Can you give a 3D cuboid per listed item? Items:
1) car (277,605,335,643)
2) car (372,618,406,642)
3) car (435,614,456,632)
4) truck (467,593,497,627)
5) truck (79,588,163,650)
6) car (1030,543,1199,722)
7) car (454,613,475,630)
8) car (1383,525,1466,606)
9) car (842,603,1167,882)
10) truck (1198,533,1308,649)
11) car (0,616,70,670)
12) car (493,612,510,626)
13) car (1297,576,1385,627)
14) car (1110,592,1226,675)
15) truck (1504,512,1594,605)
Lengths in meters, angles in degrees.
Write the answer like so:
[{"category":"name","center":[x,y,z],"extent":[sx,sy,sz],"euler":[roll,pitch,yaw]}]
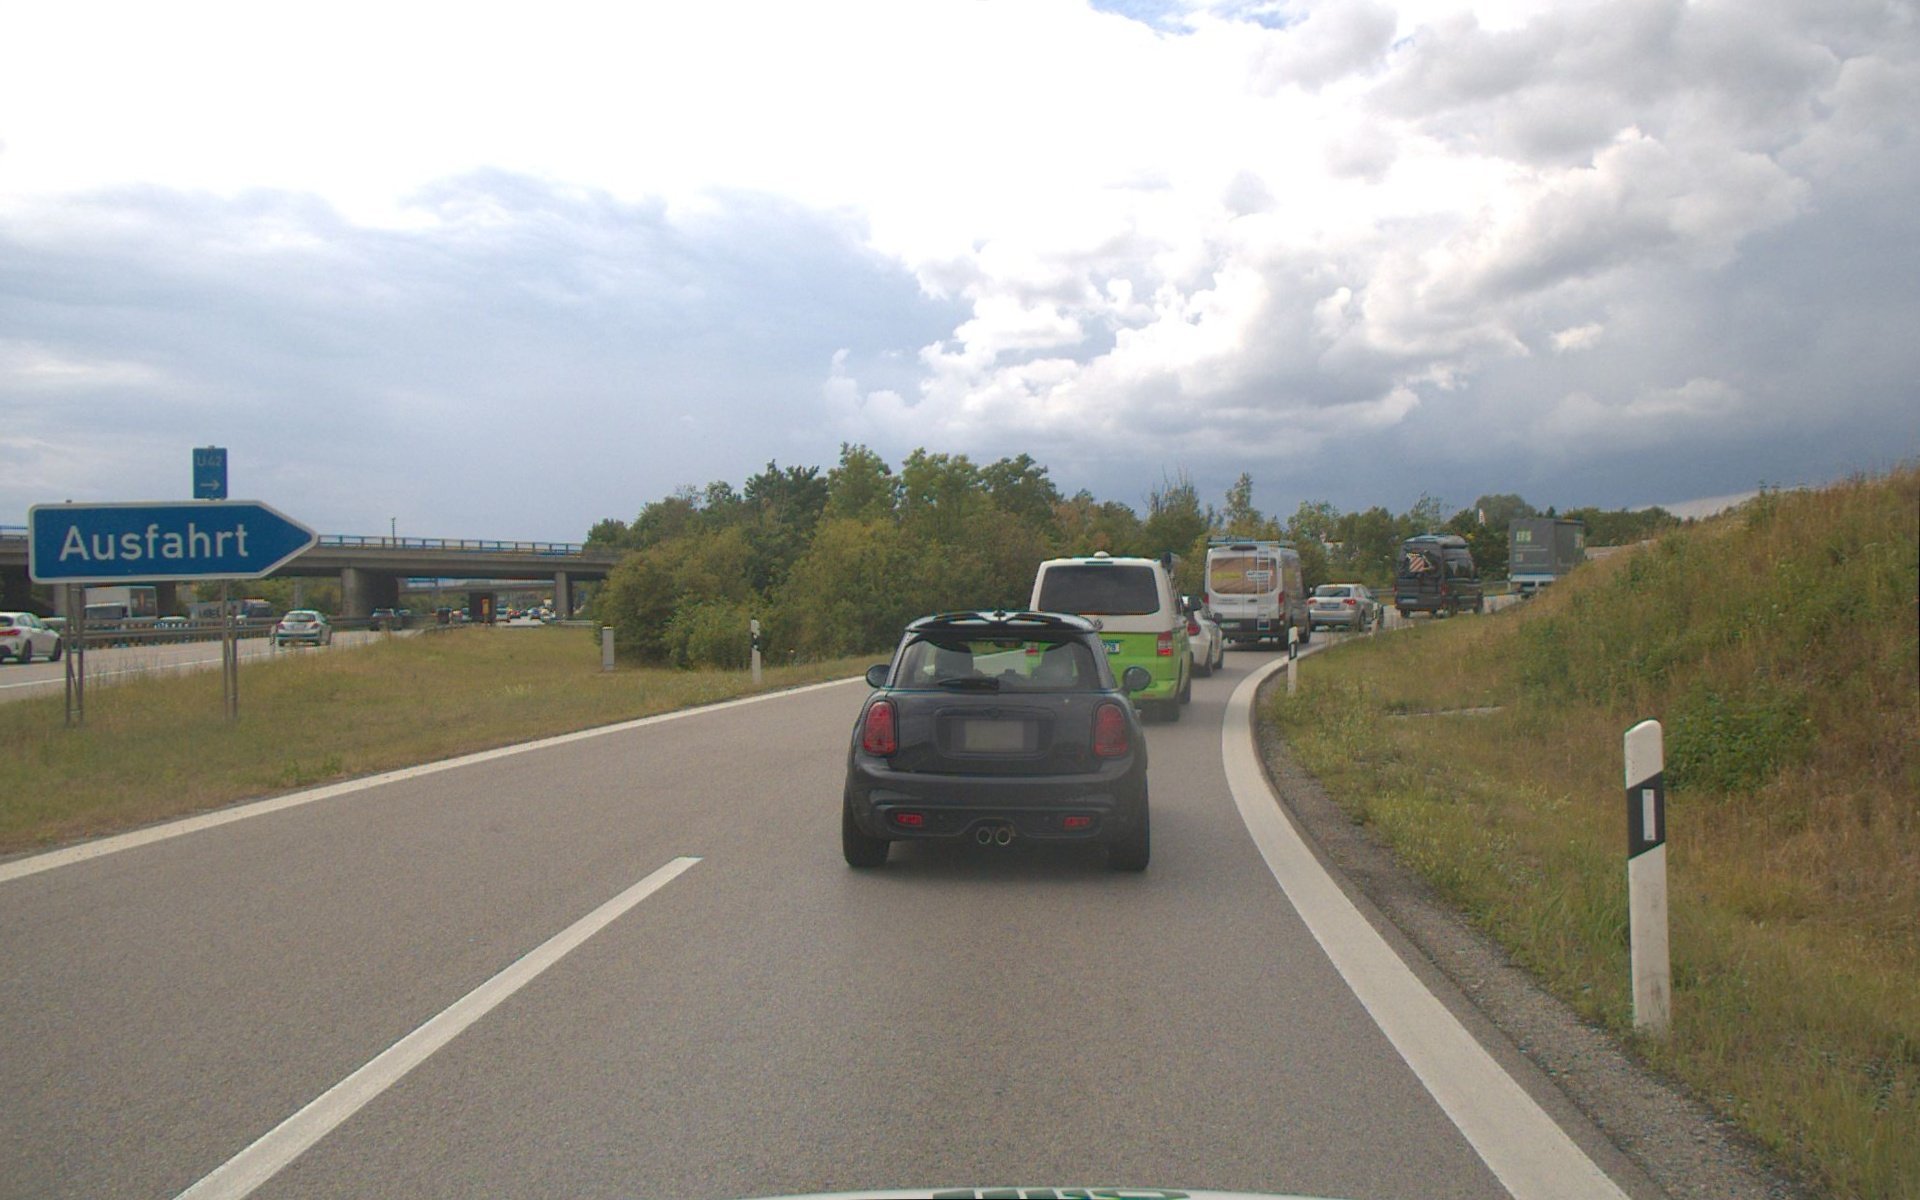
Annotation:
[{"category":"car","center":[-28.009,1.011,70.894],"extent":[1.687,1.545,3.987],"euler":[-1,0,-13]},{"category":"car","center":[-44.195,2.273,128.084],"extent":[1.959,1.774,4.813],"euler":[-1,0,-13]},{"category":"car","center":[-54.483,2.433,175.162],"extent":[1.813,1.789,4.321],"euler":[-1,0,-13]},{"category":"truck","center":[-49.744,1.050,172.291],"extent":[2.425,3.430,7.897],"euler":[-1,-1,-13]},{"category":"truck","center":[-52.780,1.185,104.283],"extent":[2.711,3.710,8.170],"euler":[-1,0,-13]},{"category":"car","center":[2.057,0.375,21.050],"extent":[1.746,2.049,4.003],"euler":[0,0,11]},{"category":"car","center":[-57.583,2.468,192.304],"extent":[1.959,1.842,3.987],"euler":[-1,0,-12]},{"category":"car","center":[17.082,-1.226,60.715],"extent":[2.065,2.845,3.993],"euler":[1,0,29]},{"category":"car","center":[0.349,0.755,10.502],"extent":[1.691,1.438,3.727],"euler":[0,0,4]},{"category":"truck","center":[7.410,-0.223,41.385],"extent":[2.132,2.705,5.112],"euler":[-1,0,17]},{"category":"car","center":[-27.447,1.224,47.982],"extent":[1.805,1.478,4.362],"euler":[-1,0,-14]},{"category":"car","center":[-59.393,2.480,214.445],"extent":[1.843,1.782,4.473],"euler":[-1,0,-12]},{"category":"car","center":[11.925,0.060,51.659],"extent":[1.829,1.536,3.996],"euler":[0,0,26]},{"category":"car","center":[3.877,0.586,30.366],"extent":[1.724,1.423,3.728],"euler":[-1,0,13]},{"category":"truck","center":[27.144,-1.812,76.077],"extent":[2.192,3.975,5.990],"euler":[0,-2,37]}]
